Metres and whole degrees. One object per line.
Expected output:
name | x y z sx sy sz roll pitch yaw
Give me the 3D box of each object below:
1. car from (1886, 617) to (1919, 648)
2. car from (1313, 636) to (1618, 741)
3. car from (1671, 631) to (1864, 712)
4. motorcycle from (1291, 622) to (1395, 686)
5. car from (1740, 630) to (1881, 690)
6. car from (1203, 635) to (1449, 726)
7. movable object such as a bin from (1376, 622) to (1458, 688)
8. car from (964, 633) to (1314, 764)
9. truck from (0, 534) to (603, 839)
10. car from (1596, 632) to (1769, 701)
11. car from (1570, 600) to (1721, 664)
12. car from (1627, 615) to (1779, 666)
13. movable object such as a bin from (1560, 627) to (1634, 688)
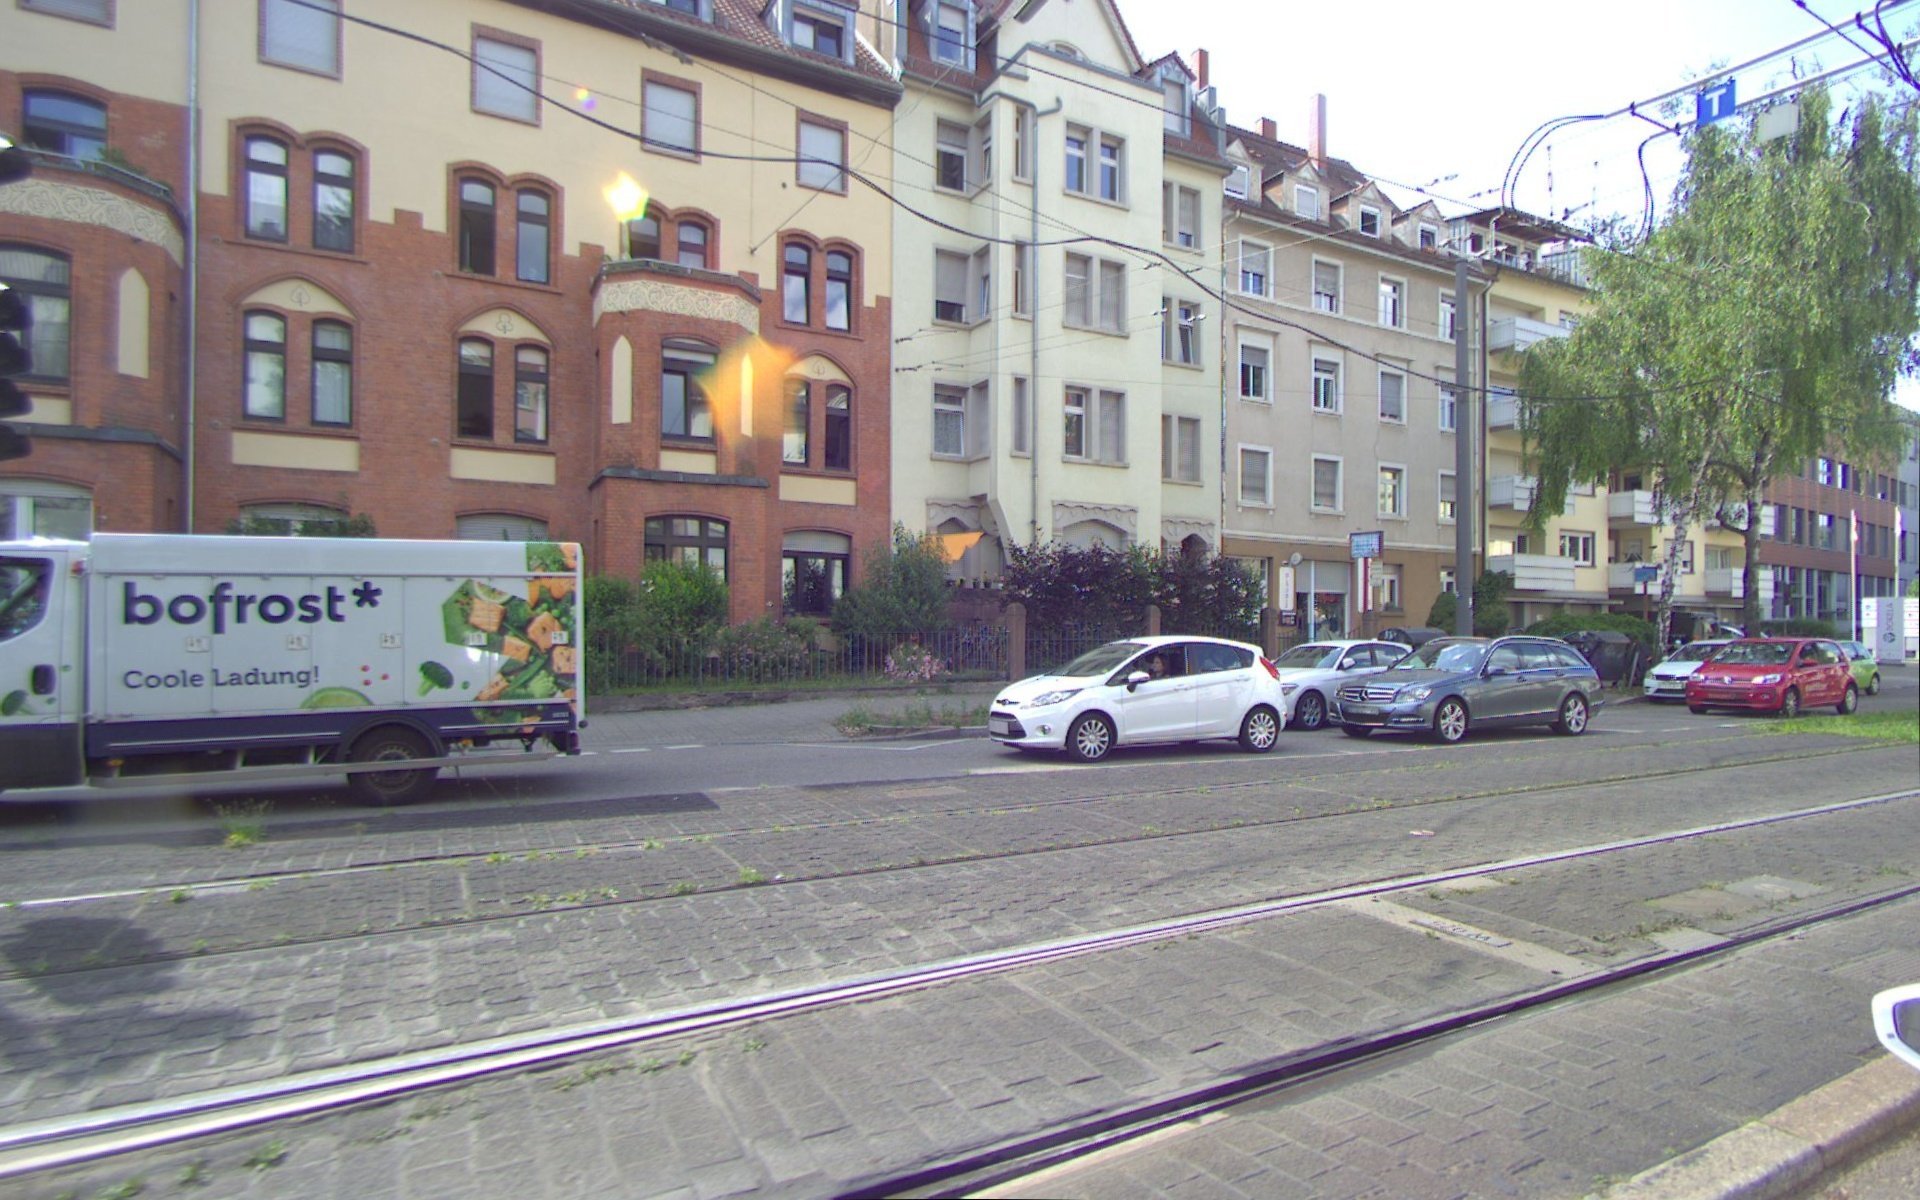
car | 52.474 1.736 53.741 1.977 1.617 3.967 1 -1 -31
car | 7.560 1.240 14.954 4.453 1.374 1.749 1 -3 -27
car | 15.600 1.321 19.387 3.646 1.405 1.573 1 -2 -28
motorcycle | 8.034 1.093 21.038 2.271 1.259 0.895 1 -1 -34
car | 22.222 1.531 26.234 3.568 1.451 1.588 1 -2 -28
car | 6.277 1.295 17.196 3.943 1.374 1.749 1 -2 -27
movable object such as a bin | 10.314 1.215 22.681 1.503 1.385 0.946 0 2 -29
car | 2.261 1.151 12.667 4.076 1.433 1.751 1 -3 -24
truck | -6.642 0.676 8.771 6.519 2.243 2.180 0 -2 -24
car | 17.089 1.518 23.737 4.172 1.497 1.638 1 -2 -28
car | 24.006 1.080 35.342 1.910 2.041 3.976 0 1 -24
car | 26.705 1.394 36.246 1.948 1.624 3.971 1 1 -27
movable object such as a bin | 16.122 1.425 25.423 1.503 1.449 0.946 0 1 -29
